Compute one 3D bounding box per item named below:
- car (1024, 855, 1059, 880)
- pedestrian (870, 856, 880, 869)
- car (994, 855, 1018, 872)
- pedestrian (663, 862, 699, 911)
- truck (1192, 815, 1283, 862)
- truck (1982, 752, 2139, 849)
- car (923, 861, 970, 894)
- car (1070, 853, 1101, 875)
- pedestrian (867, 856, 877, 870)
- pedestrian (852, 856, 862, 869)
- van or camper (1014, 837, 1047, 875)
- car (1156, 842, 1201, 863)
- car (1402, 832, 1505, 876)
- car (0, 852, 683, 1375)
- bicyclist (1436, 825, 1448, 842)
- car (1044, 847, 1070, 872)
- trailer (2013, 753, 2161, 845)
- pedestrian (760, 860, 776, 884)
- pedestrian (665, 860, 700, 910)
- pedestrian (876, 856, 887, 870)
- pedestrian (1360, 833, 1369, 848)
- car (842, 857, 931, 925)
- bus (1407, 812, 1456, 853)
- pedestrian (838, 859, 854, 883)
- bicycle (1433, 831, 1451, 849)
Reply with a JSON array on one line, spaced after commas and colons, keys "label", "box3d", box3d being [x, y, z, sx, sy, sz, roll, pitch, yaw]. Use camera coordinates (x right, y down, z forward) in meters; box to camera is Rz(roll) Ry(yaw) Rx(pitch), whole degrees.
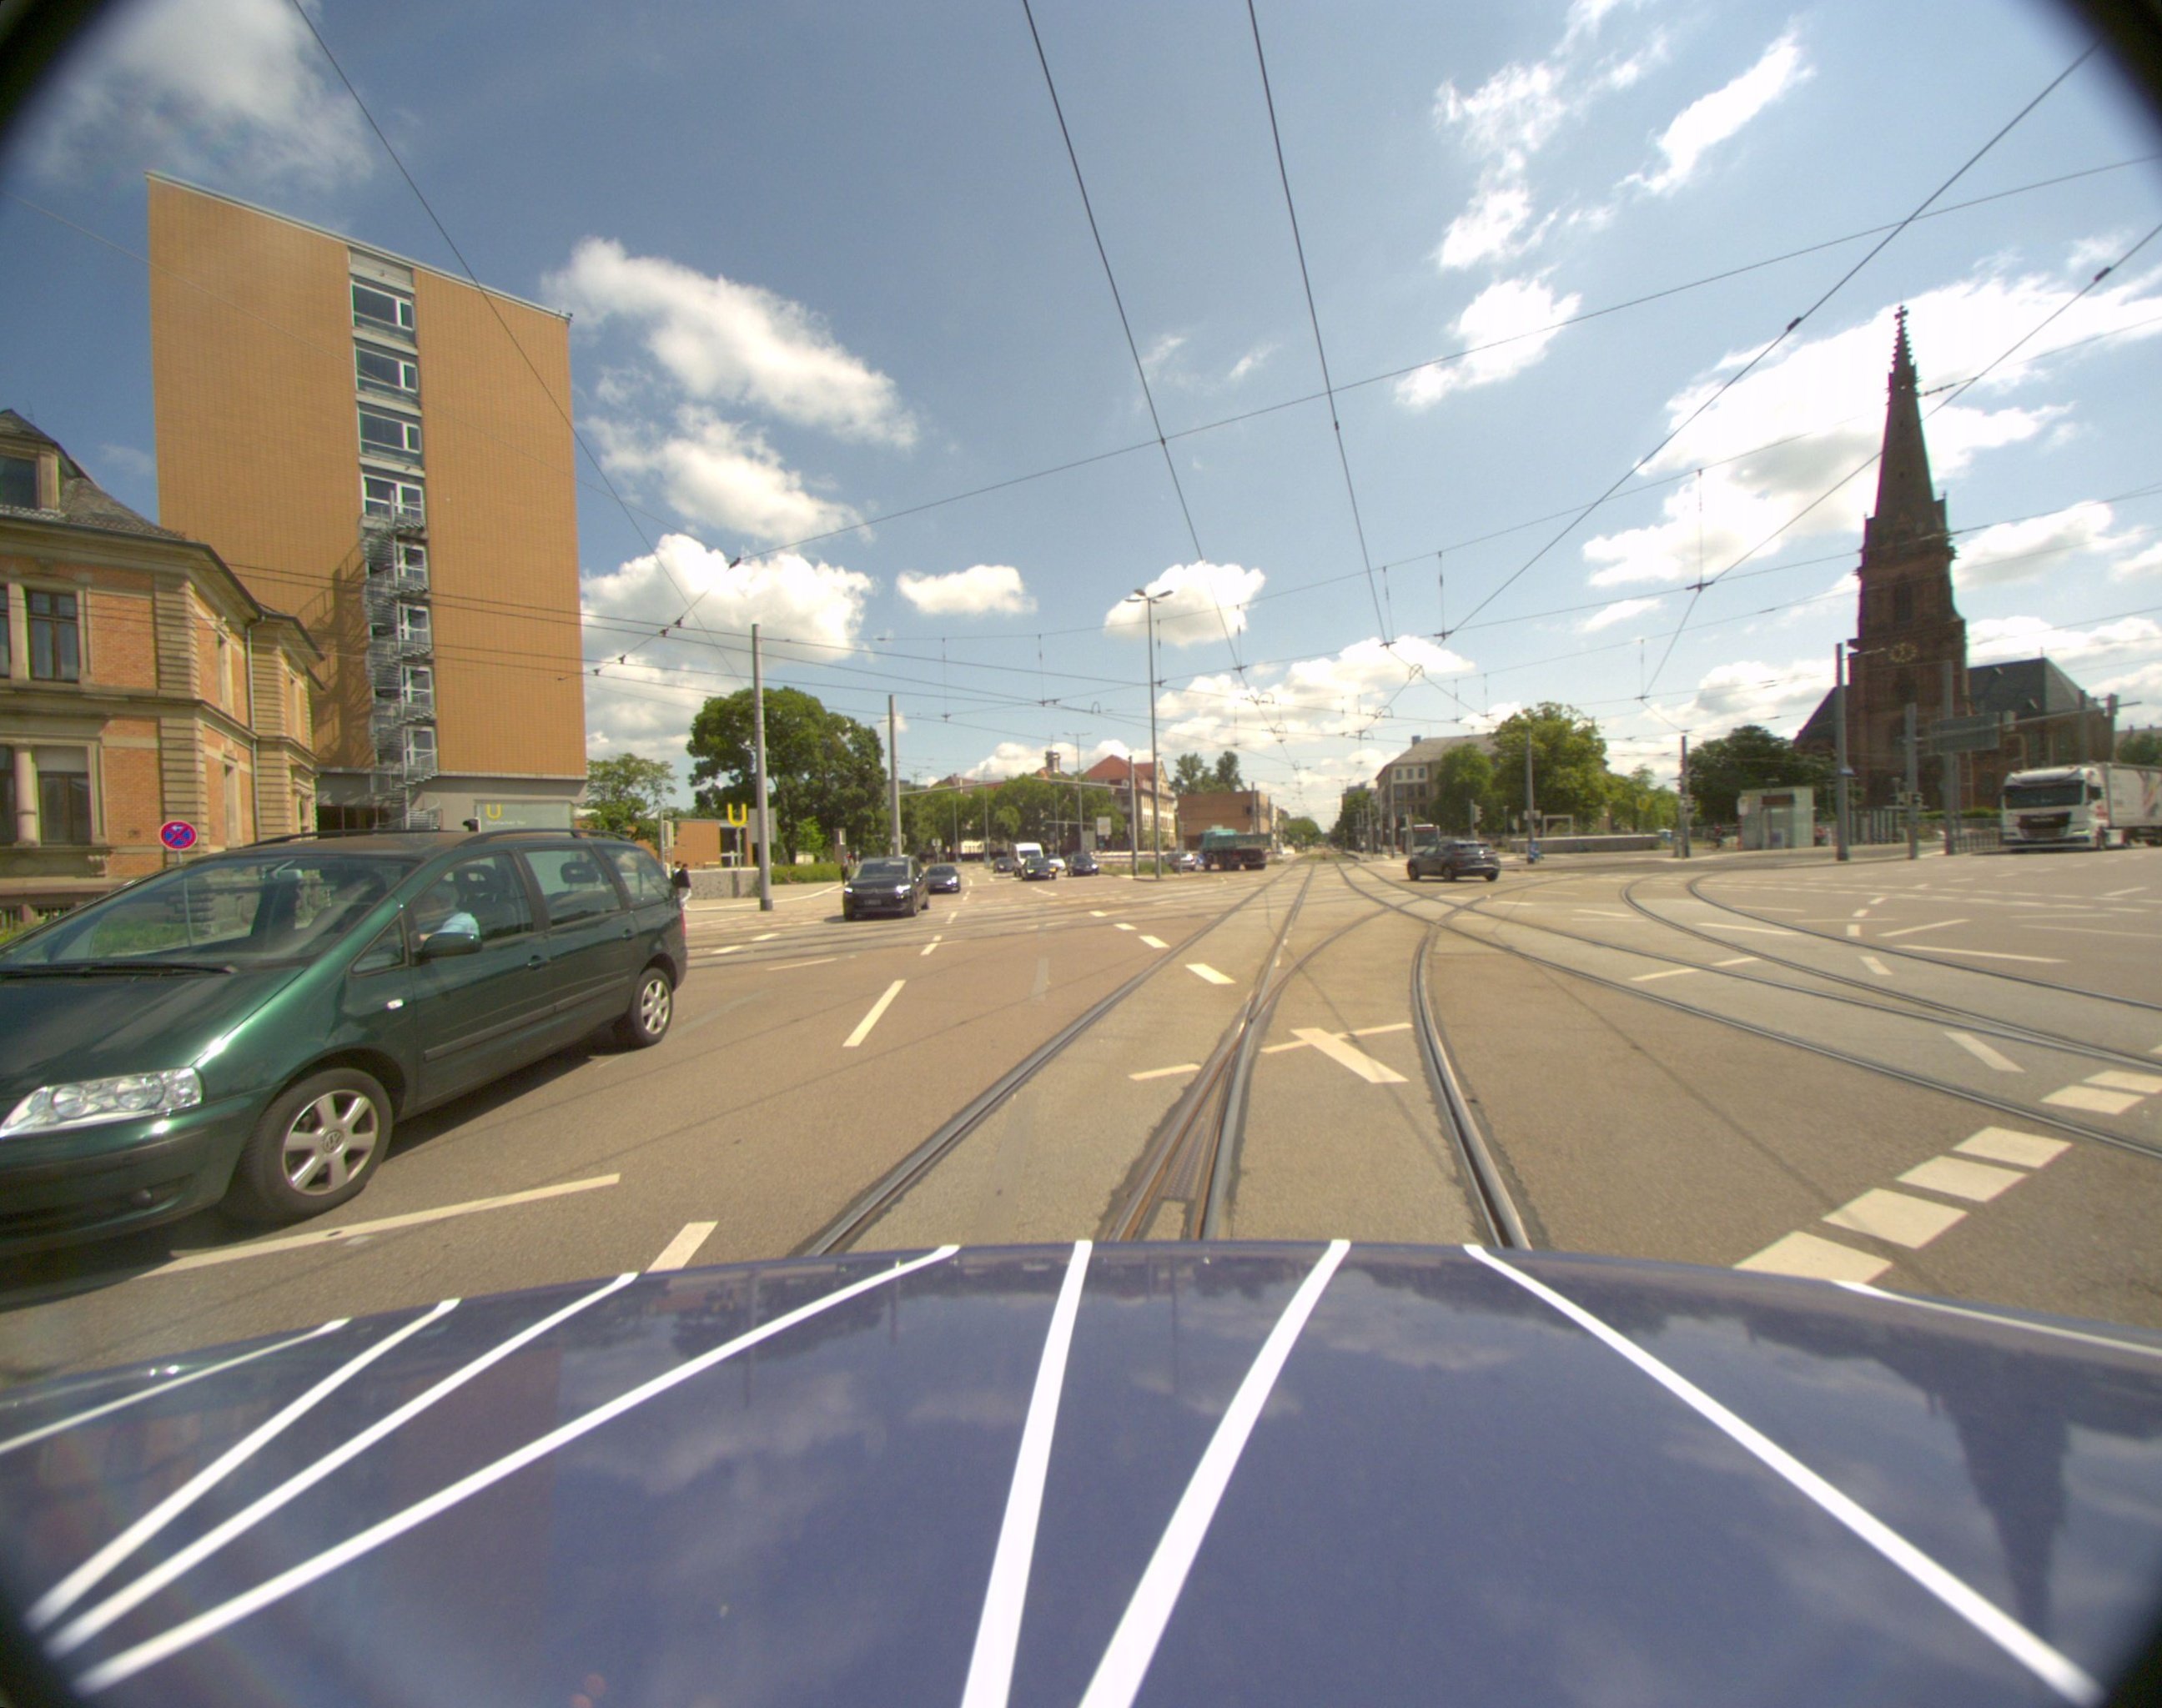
[{"label": "car", "box3d": [-2.583, 0.827, 48.865, 1.901, 1.455, 4.258, -2, 1, -6]}, {"label": "pedestrian", "box3d": [-26.276, 1.091, 96.939, 1.153, 1.679, 1.309, -2, 0, -18]}, {"label": "car", "box3d": [-7.231, 0.894, 73.052, 1.782, 1.565, 3.957, -2, 0, -12]}, {"label": "pedestrian", "box3d": [-14.635, 1.184, 27.802, 1.029, 1.710, 0.726, -3, 2, -35]}, {"label": "truck", "box3d": [10.854, -0.982, 53.827, 3.357, 2.980, 8.727, -2, 0, -9]}, {"label": "truck", "box3d": [45.340, -2.423, 35.155, 6.886, 4.095, 2.958, -2, 1, -25]}, {"label": "car", "box3d": [-6.939, 1.158, 39.547, 1.873, 1.477, 4.424, -2, 1, -3]}, {"label": "car", "box3d": [0.252, 0.662, 51.538, 1.672, 1.368, 3.914, -2, 0, -5]}, {"label": "pedestrian", "box3d": [-25.291, 1.122, 91.929, 1.153, 1.679, 1.309, -2, 0, -18]}, {"label": "pedestrian", "box3d": [-28.569, 1.110, 97.058, 1.153, 1.679, 1.309, -2, 0, -18]}, {"label": "van or camper", "box3d": [-3.933, 0.192, 58.201, 2.233, 2.719, 5.518, -2, 0, -6]}, {"label": "car", "box3d": [7.002, -0.079, 54.867, 1.855, 1.407, 4.335, -1, 0, -12]}, {"label": "car", "box3d": [14.122, 0.006, 29.070, 1.814, 1.551, 4.107, -1, 0, -2]}, {"label": "car", "box3d": [-4.282, 0.872, 4.512, 1.819, 1.708, 4.083, -1, 1, -3]}, {"label": "bicyclist", "box3d": [43.599, -2.451, 91.818, 1.123, 2.002, 1.321, 0, 1, 15]}, {"label": "car", "box3d": [-2.065, 0.474, 65.272, 1.816, 2.002, 3.997, -2, 0, -7]}, {"label": "trailer", "box3d": [51.582, -2.735, 38.046, 13.434, 4.053, 2.943, -2, 1, -25]}, {"label": "pedestrian", "box3d": [-22.011, 1.266, 53.455, 0.830, 1.616, 0.767, -2, 0, -5]}, {"label": "pedestrian", "box3d": [-14.967, 1.160, 28.529, 1.029, 1.802, 0.726, -3, 2, -35]}, {"label": "pedestrian", "box3d": [-24.523, 1.128, 93.524, 1.153, 1.679, 1.309, -2, 0, -18]}, {"label": "pedestrian", "box3d": [34.532, -1.646, 92.659, 0.910, 1.812, 1.022, 0, 1, 15]}, {"label": "car", "box3d": [-5.229, 0.923, 21.002, 1.874, 1.607, 4.423, -1, 1, -8]}, {"label": "bus", "box3d": [31.869, -1.887, 69.360, 2.946, 3.427, 7.957, -1, 0, 17]}, {"label": "pedestrian", "box3d": [-15.462, 1.124, 50.090, 0.830, 1.576, 0.767, -2, 0, -5]}, {"label": "bicycle", "box3d": [43.633, -1.671, 91.870, 1.246, 2.002, 3.488, -1, 0, 15]}]
